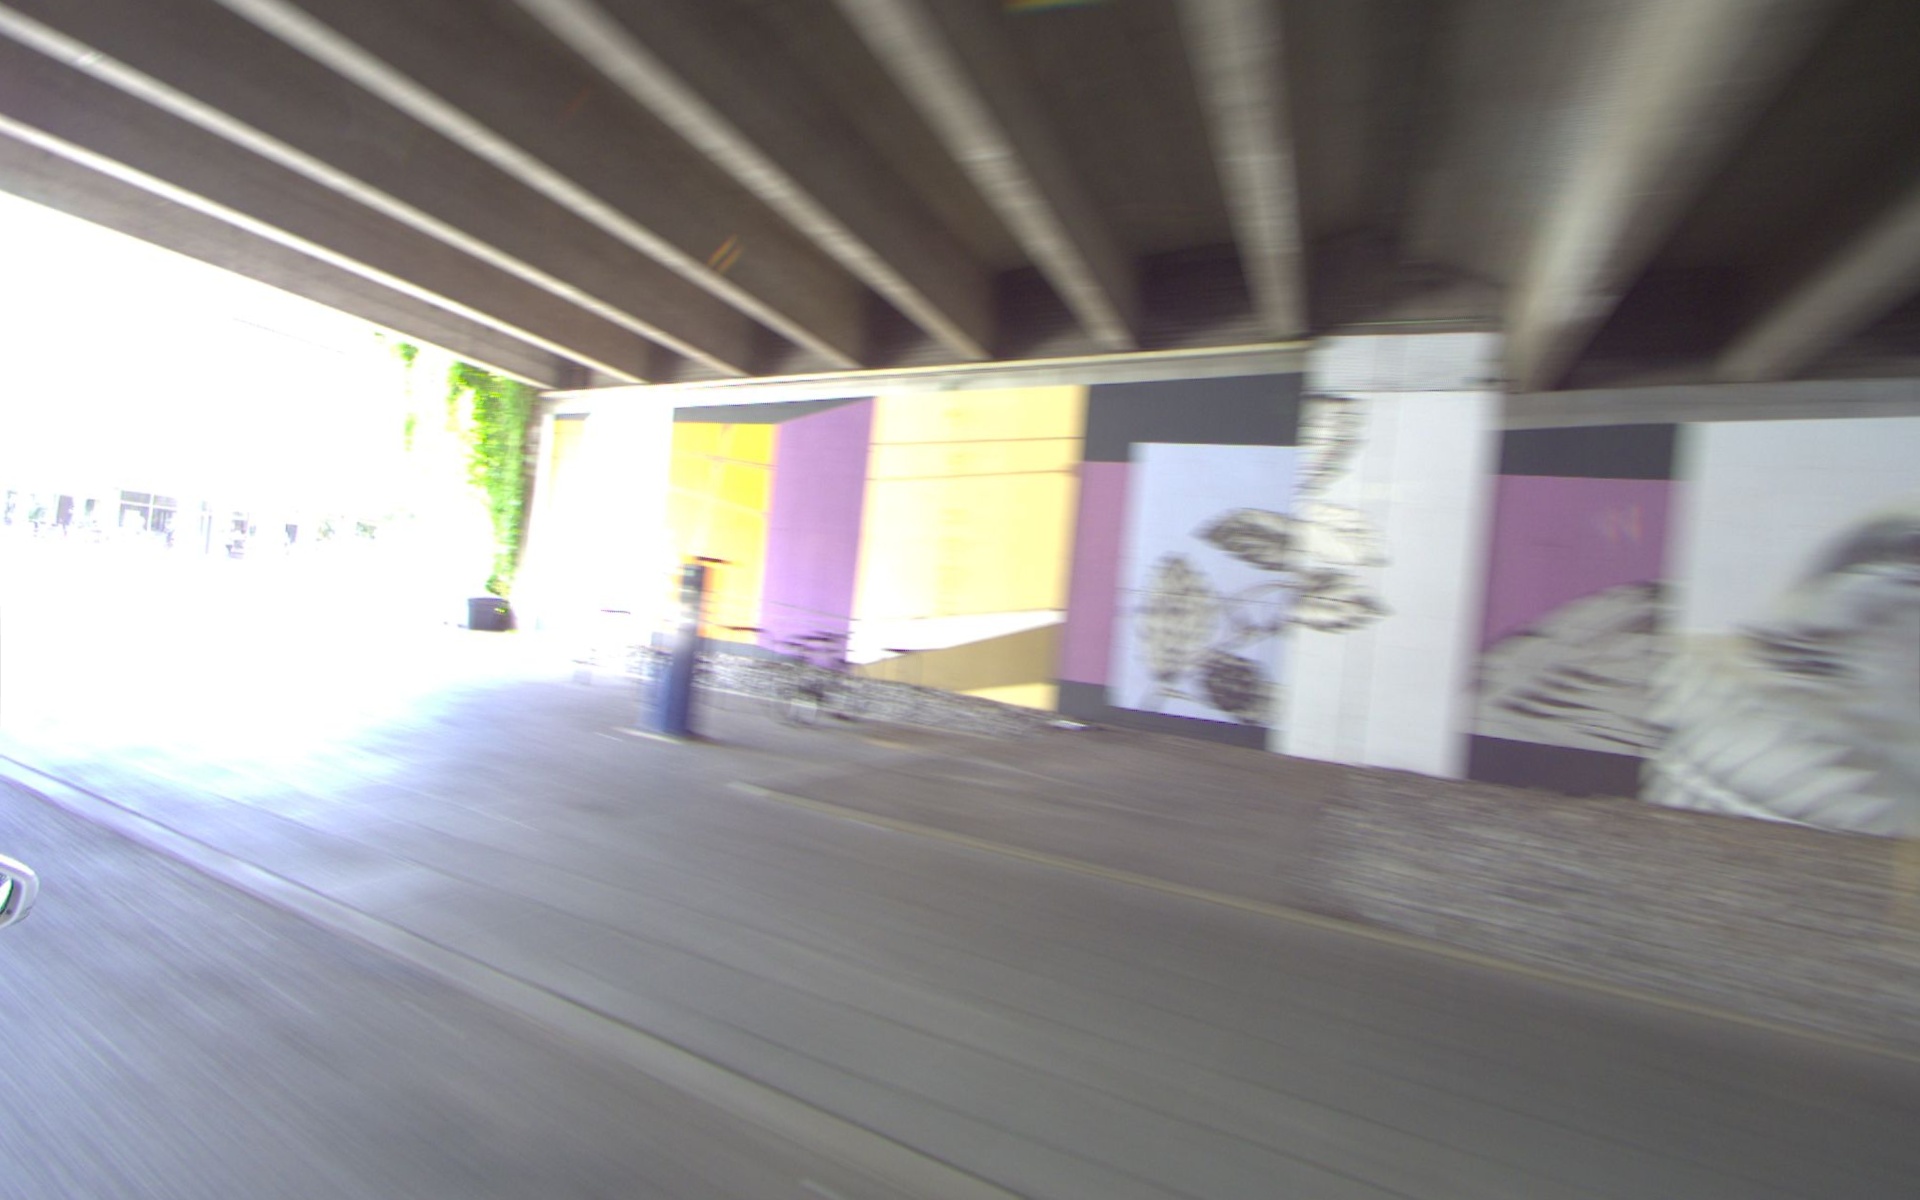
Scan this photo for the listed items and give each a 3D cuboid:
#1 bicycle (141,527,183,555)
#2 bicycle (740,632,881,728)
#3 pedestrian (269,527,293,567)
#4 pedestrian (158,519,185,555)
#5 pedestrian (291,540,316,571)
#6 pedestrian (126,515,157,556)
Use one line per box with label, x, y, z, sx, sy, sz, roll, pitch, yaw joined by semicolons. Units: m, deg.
bicycle;-40.710;-3.002;51.341;1.526;1.181;0.492;8;-2;-29
bicycle;-1.587;0.848;11.045;0.497;0.915;1.950;6;0;24
pedestrian;-33.142;-2.581;49.123;0.685;1.844;0.616;7;4;23
pedestrian;-40.499;-3.227;51.681;0.606;1.694;0.698;7;0;17
pedestrian;-30.576;-2.072;46.842;0.686;1.300;0.616;7;-1;30
pedestrian;-36.757;-2.881;45.170;0.606;1.694;0.698;7;0;5
